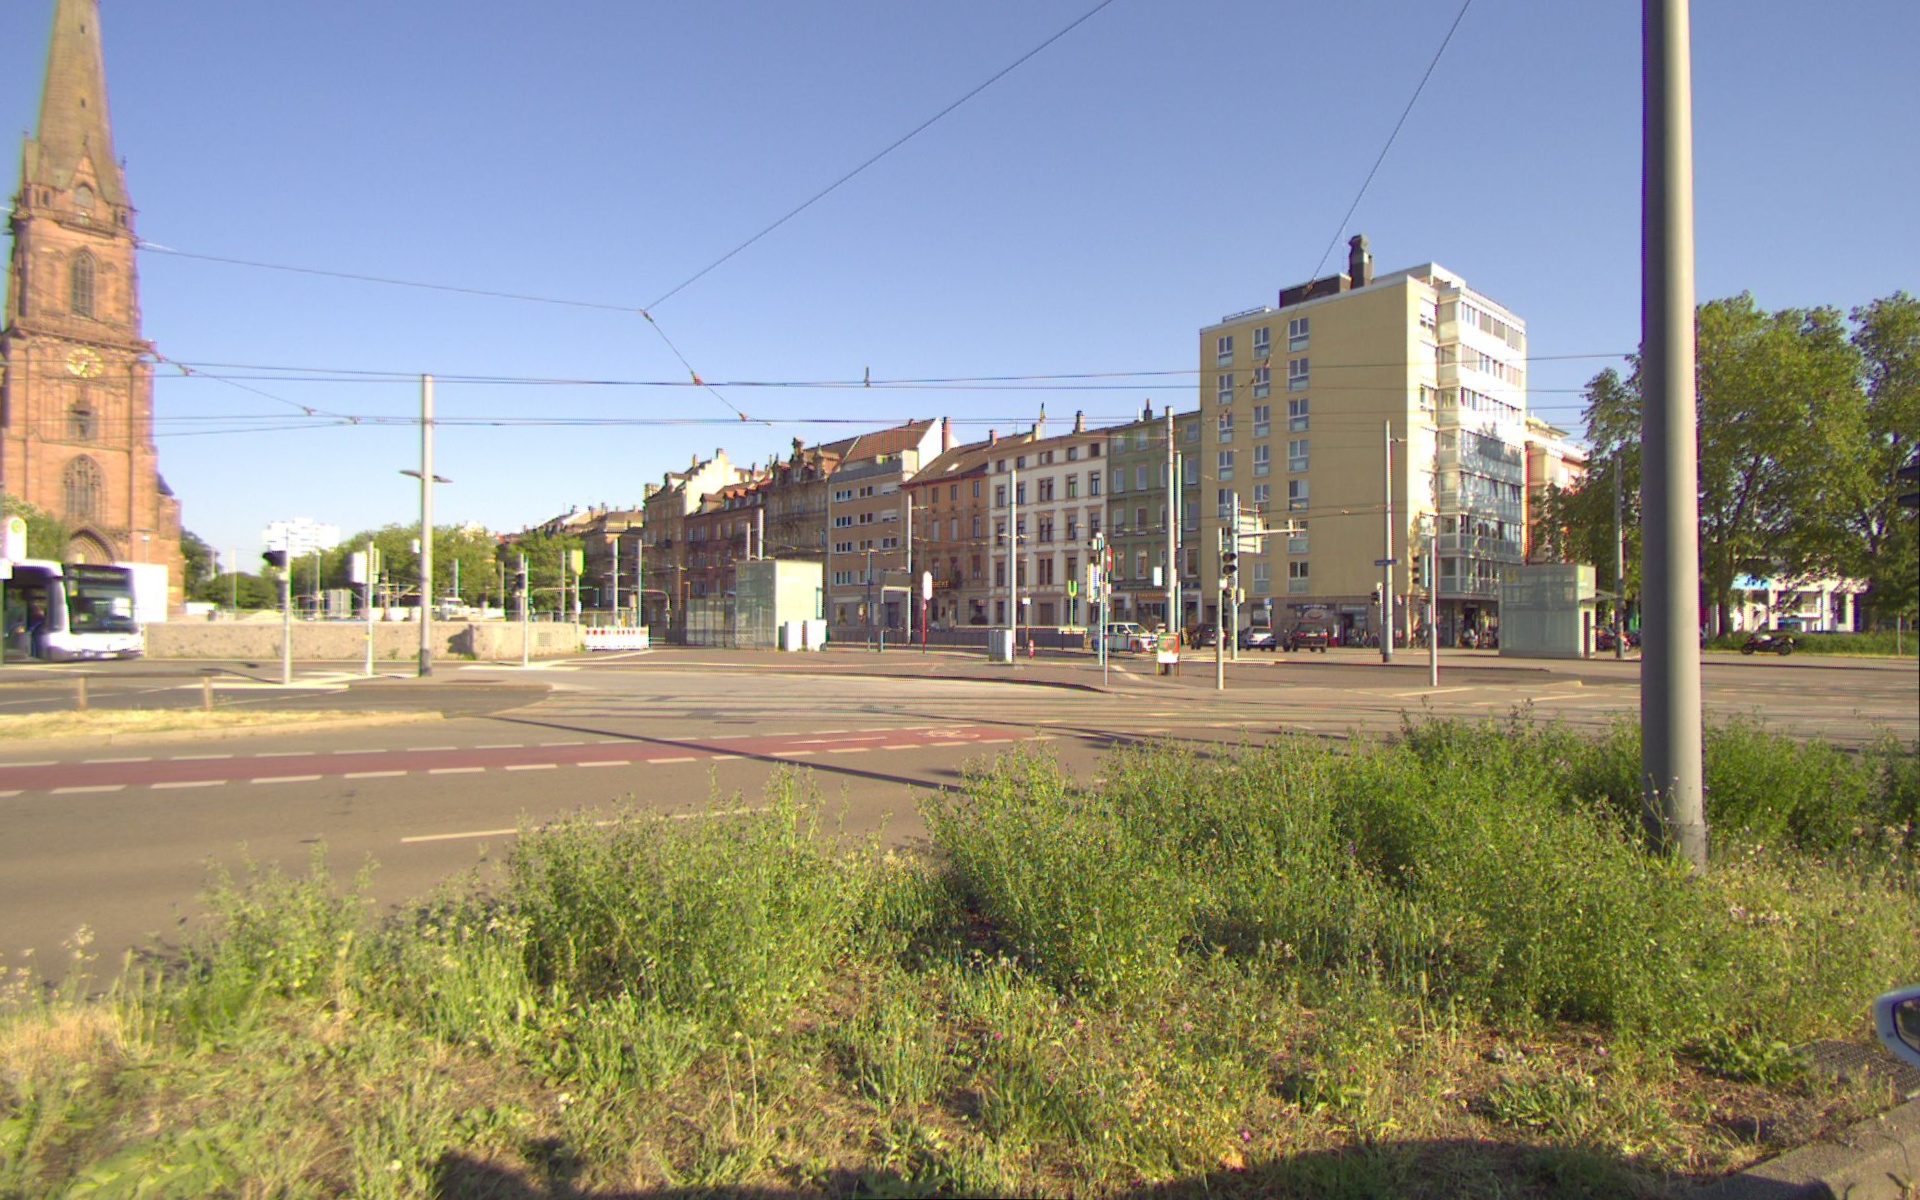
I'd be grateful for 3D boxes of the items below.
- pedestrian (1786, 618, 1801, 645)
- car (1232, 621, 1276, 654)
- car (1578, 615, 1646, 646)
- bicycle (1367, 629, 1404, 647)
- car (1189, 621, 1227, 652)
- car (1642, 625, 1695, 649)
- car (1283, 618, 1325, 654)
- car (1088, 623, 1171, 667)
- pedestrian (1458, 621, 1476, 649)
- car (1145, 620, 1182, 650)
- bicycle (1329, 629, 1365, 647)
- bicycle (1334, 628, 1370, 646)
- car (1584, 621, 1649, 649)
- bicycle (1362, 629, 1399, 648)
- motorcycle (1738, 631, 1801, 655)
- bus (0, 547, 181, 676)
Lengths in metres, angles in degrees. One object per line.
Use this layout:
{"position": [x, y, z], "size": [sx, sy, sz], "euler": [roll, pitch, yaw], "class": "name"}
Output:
{"position": [63.508, 2.418, 76.537], "size": [0.700, 2.040, 0.587], "euler": [1, -1, -24], "class": "pedestrian"}
{"position": [17.540, 2.192, 60.067], "size": [1.802, 1.772, 4.001], "euler": [-1, 0, 5], "class": "car"}
{"position": [45.024, 2.096, 69.463], "size": [3.930, 2.040, 1.995], "euler": [0, -1, 32], "class": "car"}
{"position": [26.782, 2.376, 63.255], "size": [0.771, 1.105, 2.023], "euler": [1, -2, -42], "class": "bicycle"}
{"position": [15.403, 2.222, 62.464], "size": [1.802, 1.742, 4.002], "euler": [-1, 0, 7], "class": "car"}
{"position": [45.169, 2.356, 64.030], "size": [3.967, 1.471, 1.831], "euler": [1, -1, -40], "class": "car"}
{"position": [19.787, 2.032, 57.828], "size": [1.815, 1.882, 4.002], "euler": [-1, 0, 12], "class": "car"}
{"position": [8.553, 2.212, 50.862], "size": [1.985, 2.041, 3.699], "euler": [-1, 1, -43], "class": "car"}
{"position": [31.280, 2.178, 61.948], "size": [0.776, 1.698, 0.769], "euler": [1, -1, -41], "class": "pedestrian"}
{"position": [13.201, 2.237, 65.231], "size": [2.044, 1.742, 4.012], "euler": [-1, 0, 7], "class": "car"}
{"position": [24.744, 2.398, 64.236], "size": [0.771, 1.105, 2.023], "euler": [1, -2, -42], "class": "bicycle"}
{"position": [25.317, 2.386, 64.895], "size": [0.771, 1.105, 2.023], "euler": [1, -2, -42], "class": "bicycle"}
{"position": [47.704, 2.518, 73.089], "size": [3.930, 1.882, 1.848], "euler": [-1, 1, 32], "class": "car"}
{"position": [26.203, 2.388, 62.639], "size": [0.771, 1.105, 2.023], "euler": [1, -2, -42], "class": "bicycle"}
{"position": [38.831, 2.049, 48.214], "size": [0.681, 1.068, 2.268], "euler": [-1, 1, -36], "class": "motorcycle"}
{"position": [-29.679, 0.203, 28.897], "size": [11.945, 3.359, 3.253], "euler": [3, -4, 2], "class": "bus"}
